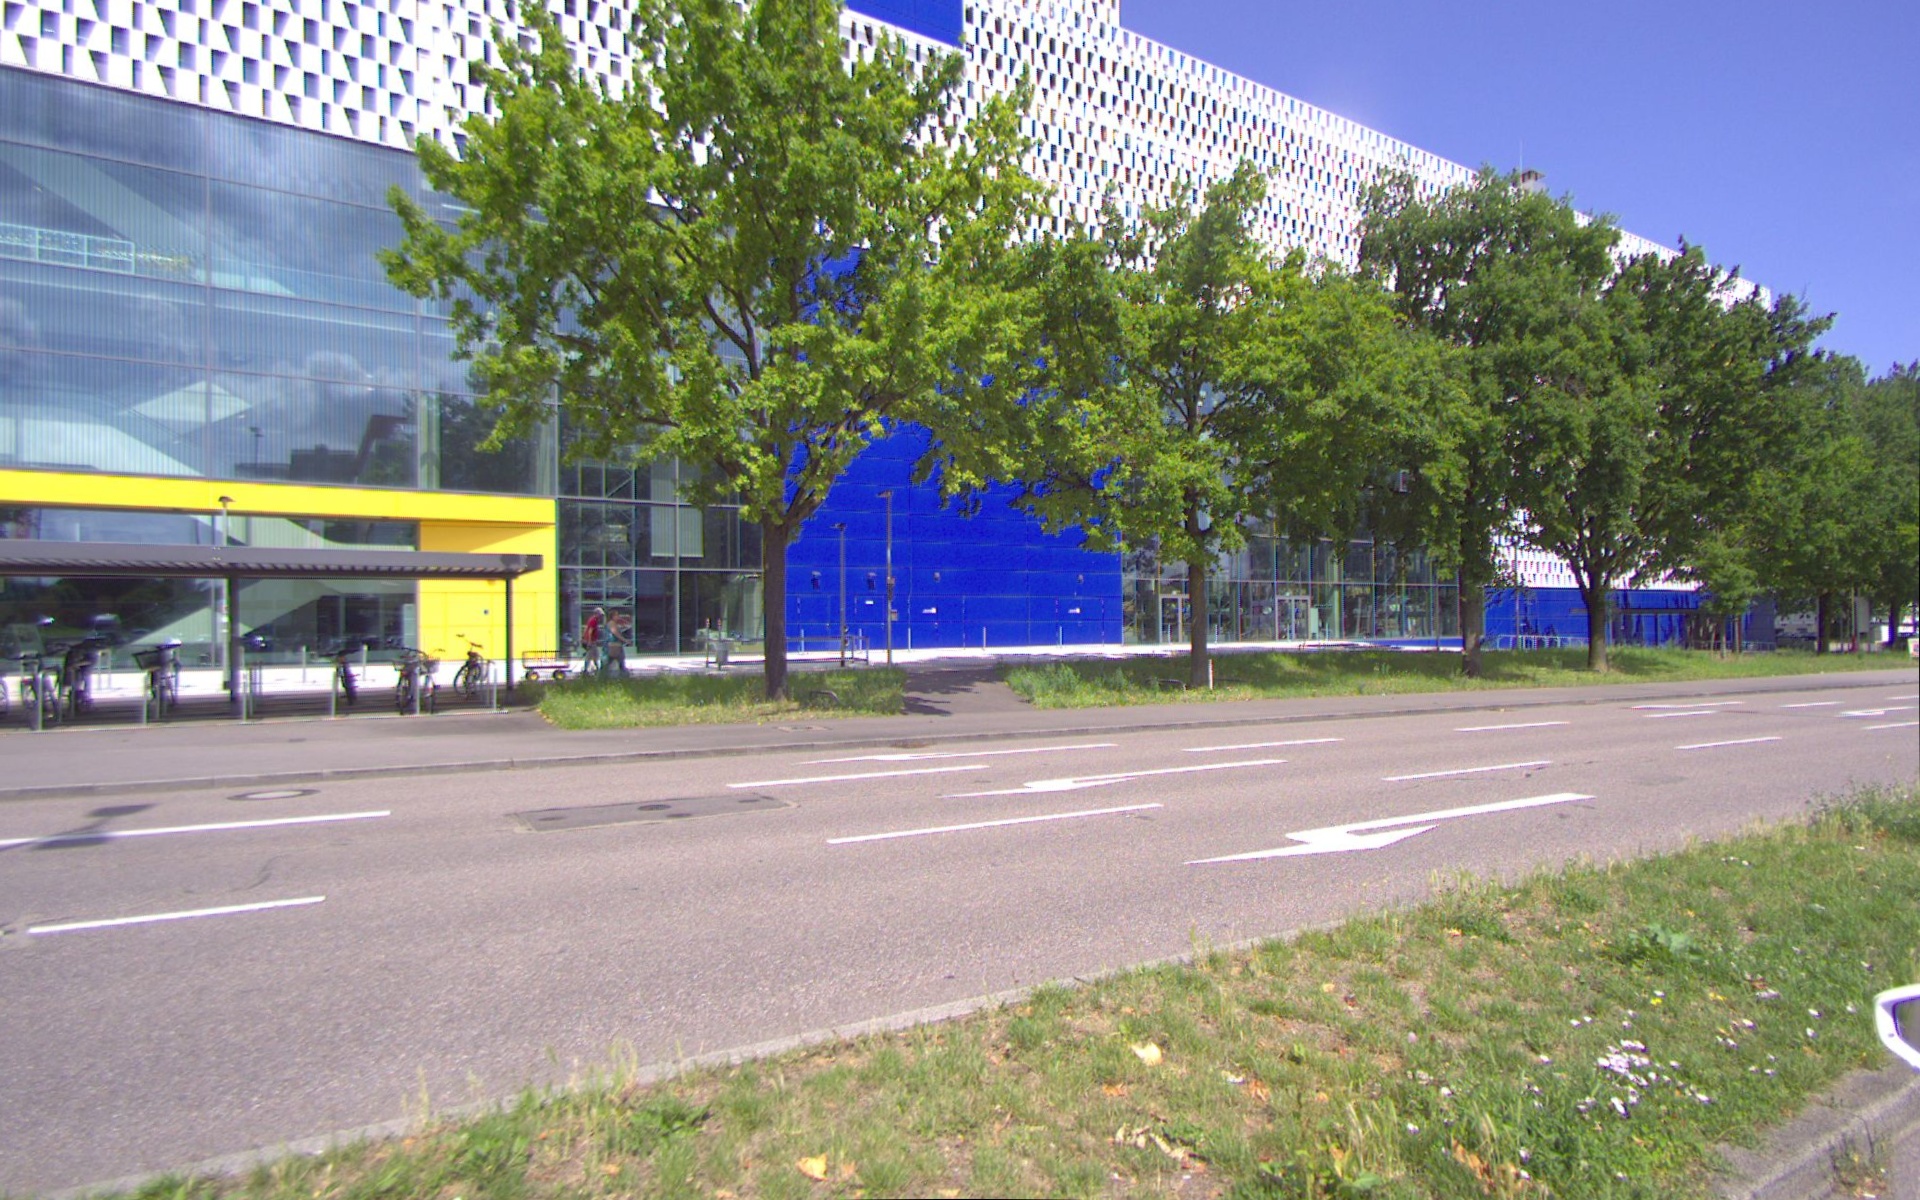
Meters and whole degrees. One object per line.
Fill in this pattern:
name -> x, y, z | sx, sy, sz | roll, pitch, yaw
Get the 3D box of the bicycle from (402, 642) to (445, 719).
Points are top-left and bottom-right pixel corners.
bicycle -> -9.356, 1.366, 17.494 | 0.622, 1.199, 1.916 | 0, -1, -30

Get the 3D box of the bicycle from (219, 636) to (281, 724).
bicycle -> -11.393, 1.245, 16.150 | 0.622, 1.289, 1.916 | 0, -1, -30

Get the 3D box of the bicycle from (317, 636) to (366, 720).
bicycle -> -10.370, 1.264, 16.884 | 0.622, 1.289, 1.916 | 0, -1, -30

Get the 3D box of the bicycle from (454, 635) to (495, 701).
bicycle -> -9.647, 1.321, 19.928 | 0.622, 1.199, 1.916 | 0, -1, -30

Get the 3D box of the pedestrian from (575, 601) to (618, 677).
pedestrian -> -9.061, 0.968, 25.033 | 0.876, 1.847, 0.750 | 1, -1, -30

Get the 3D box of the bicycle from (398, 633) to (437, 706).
bicycle -> -10.467, 1.300, 19.361 | 0.622, 1.289, 1.916 | 0, -1, -30

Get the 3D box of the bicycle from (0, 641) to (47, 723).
bicycle -> -15.266, 1.280, 16.024 | 0.622, 1.199, 1.916 | 0, -1, -30

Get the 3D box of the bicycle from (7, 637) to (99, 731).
bicycle -> -13.594, 1.215, 15.100 | 0.622, 1.289, 1.916 | 0, -1, -30

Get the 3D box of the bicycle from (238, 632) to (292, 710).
bicycle -> -12.498, 1.238, 18.098 | 0.622, 1.289, 1.916 | 0, -1, -30

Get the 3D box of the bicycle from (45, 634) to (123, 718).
bicycle -> -14.718, 1.243, 16.920 | 0.622, 1.289, 1.916 | 0, -1, -30

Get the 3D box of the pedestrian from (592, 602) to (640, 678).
pedestrian -> -8.064, 0.928, 23.541 | 0.876, 1.725, 0.946 | 1, -1, -30

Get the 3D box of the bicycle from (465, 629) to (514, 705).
bicycle -> -8.459, 1.162, 18.018 | 0.622, 1.289, 1.916 | 1, -2, -30

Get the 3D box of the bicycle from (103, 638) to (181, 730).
bicycle -> -12.652, 1.259, 15.585 | 0.622, 1.289, 1.916 | 0, -1, -30

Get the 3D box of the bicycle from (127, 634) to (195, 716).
bicycle -> -13.663, 1.245, 17.226 | 0.622, 1.289, 1.916 | 0, -1, -30

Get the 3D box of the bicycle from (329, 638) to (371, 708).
bicycle -> -11.383, 1.321, 18.779 | 0.622, 1.195, 1.916 | 0, -1, -30
